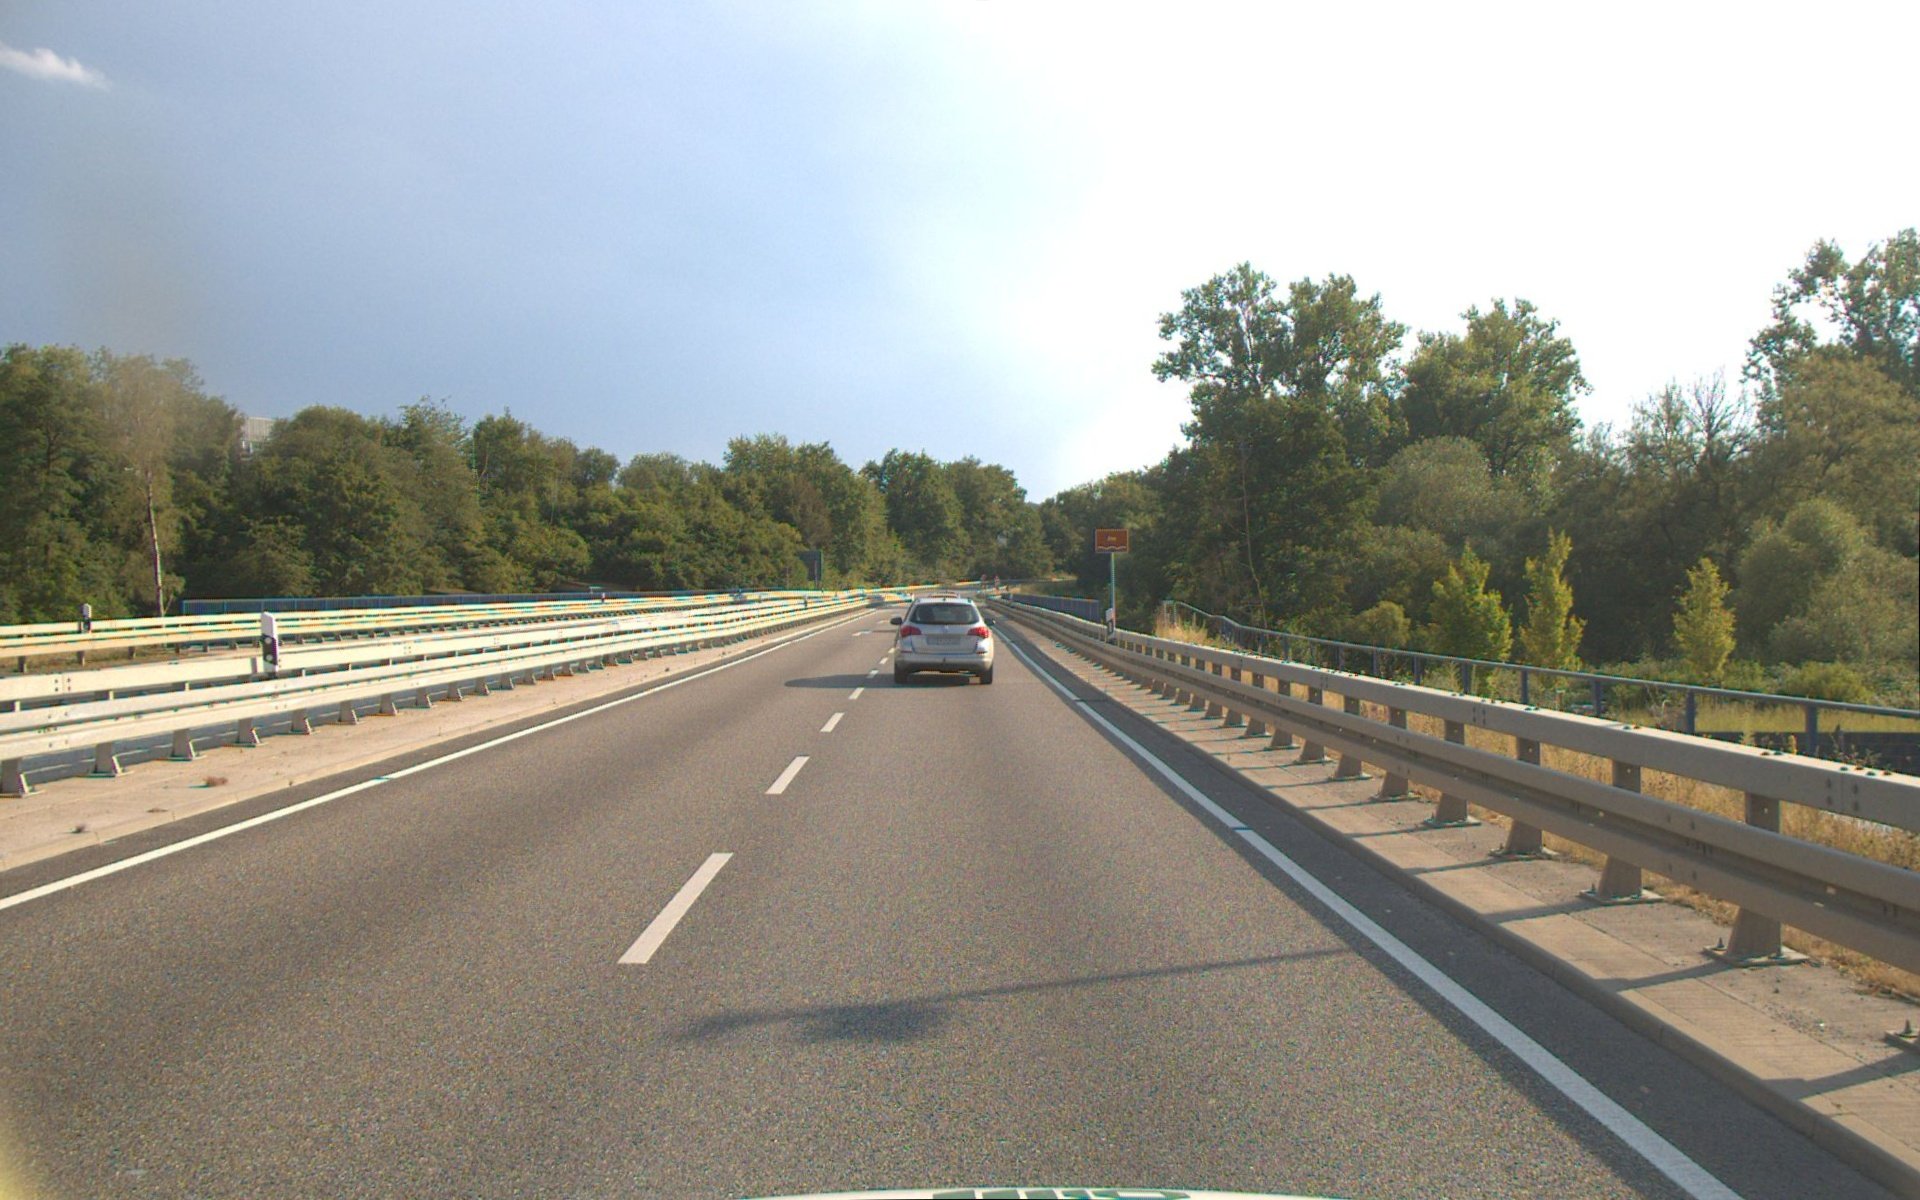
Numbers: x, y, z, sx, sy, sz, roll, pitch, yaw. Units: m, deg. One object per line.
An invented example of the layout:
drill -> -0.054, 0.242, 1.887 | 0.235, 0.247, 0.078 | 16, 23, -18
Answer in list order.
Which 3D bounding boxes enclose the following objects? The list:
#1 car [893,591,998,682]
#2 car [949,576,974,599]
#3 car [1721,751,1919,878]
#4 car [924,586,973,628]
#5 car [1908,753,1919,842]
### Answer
car -> -0.283, 0.636, 30.102 | 1.772, 1.512, 3.999 | 1, -1, -1
car -> 0.124, -1.181, 155.552 | 1.954, 2.049, 3.996 | 1, -1, -5
car -> 13.555, 3.282, 25.898 | 1.670, 1.490, 4.002 | 1, -1, 4
car -> -0.458, 0.277, 62.899 | 1.772, 1.512, 3.999 | 1, -1, -1
car -> 15.936, 3.175, 24.853 | 1.779, 1.378, 4.003 | 1, -1, 12
